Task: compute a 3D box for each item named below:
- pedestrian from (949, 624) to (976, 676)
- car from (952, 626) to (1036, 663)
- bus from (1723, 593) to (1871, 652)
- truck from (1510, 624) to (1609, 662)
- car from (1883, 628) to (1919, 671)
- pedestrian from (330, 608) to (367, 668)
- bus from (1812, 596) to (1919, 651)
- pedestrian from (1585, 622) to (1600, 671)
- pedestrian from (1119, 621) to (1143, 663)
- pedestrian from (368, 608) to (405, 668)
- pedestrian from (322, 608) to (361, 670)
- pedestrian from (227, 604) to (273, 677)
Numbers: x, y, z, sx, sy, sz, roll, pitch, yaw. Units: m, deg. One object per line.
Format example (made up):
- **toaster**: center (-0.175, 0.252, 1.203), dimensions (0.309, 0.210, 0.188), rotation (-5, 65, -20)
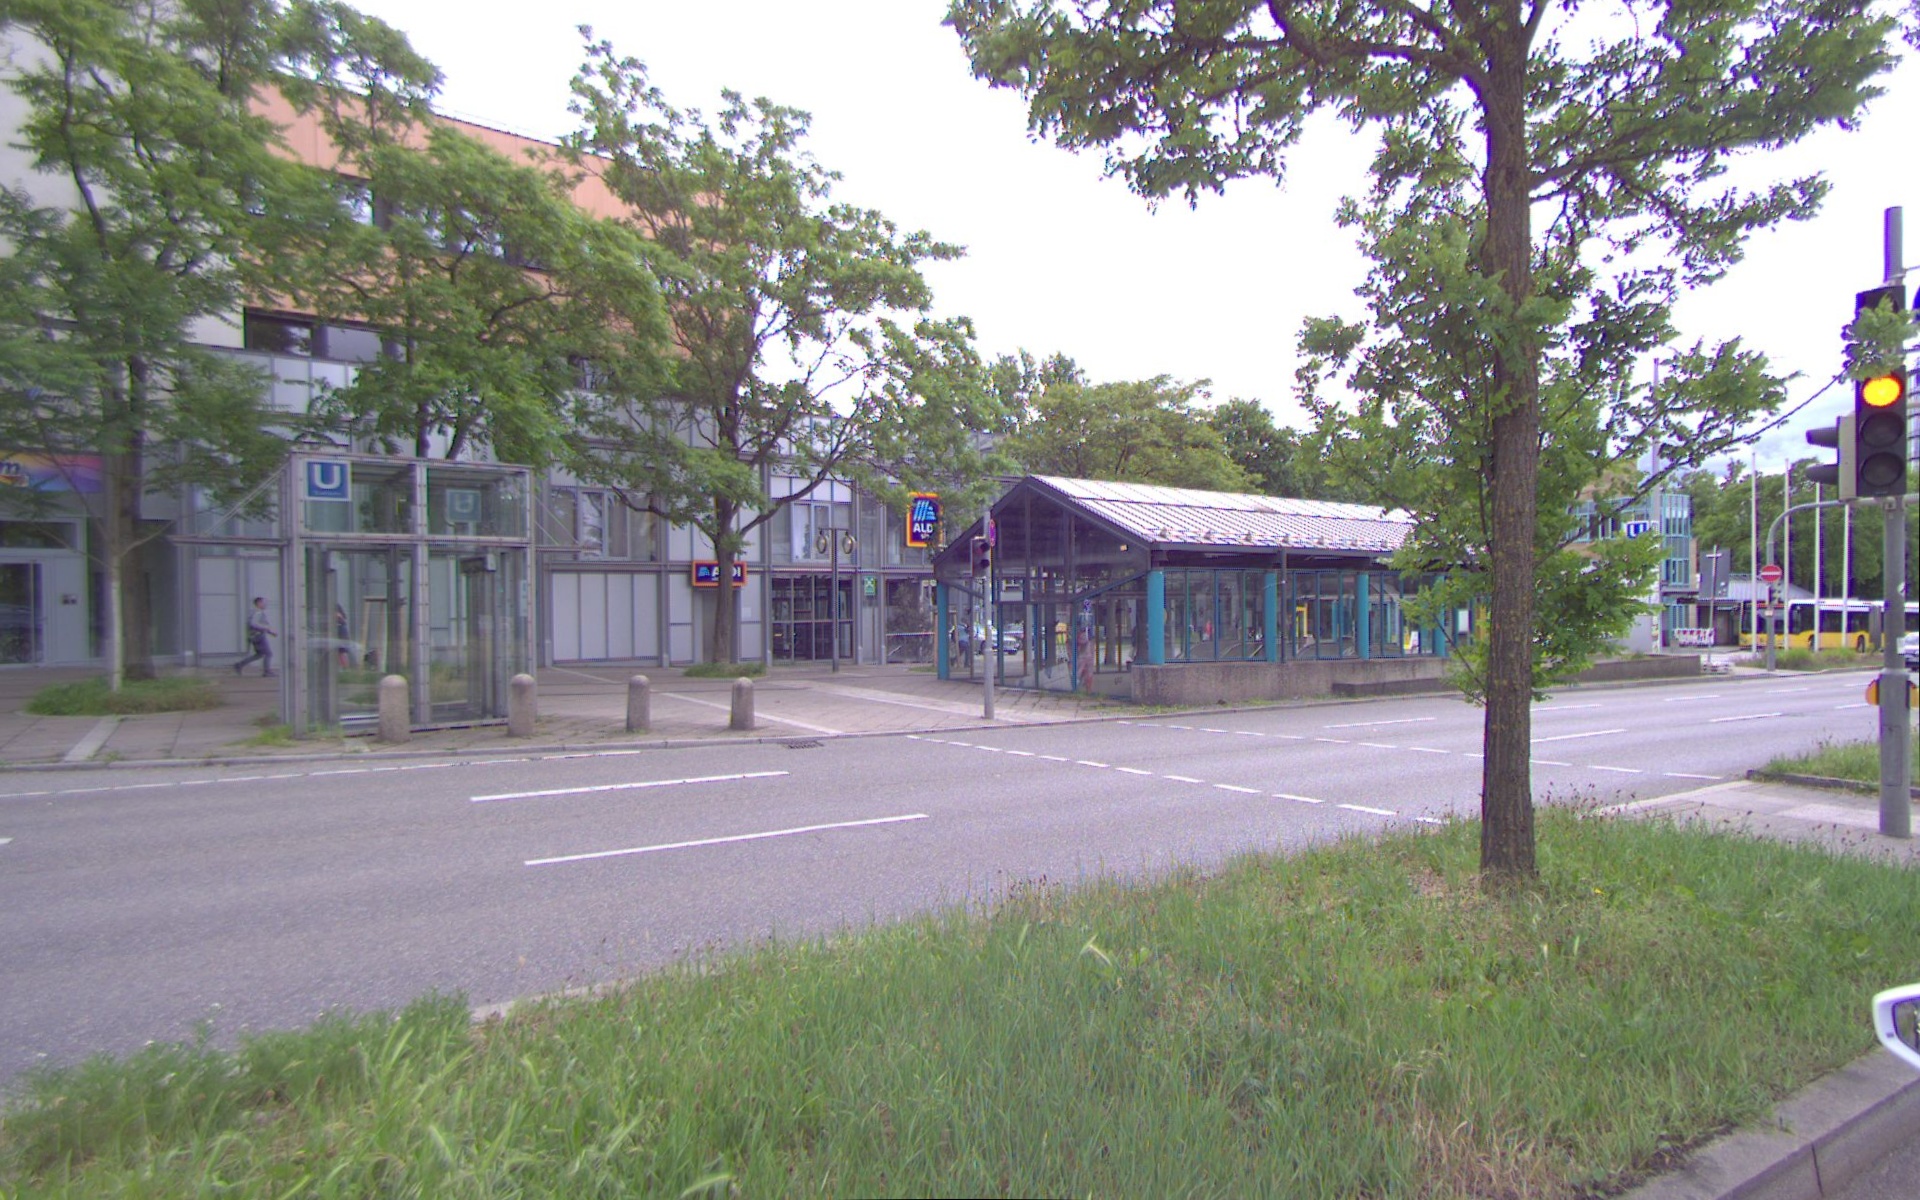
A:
- **pedestrian**: center (0.072, 1.612, 32.546), dimensions (0.703, 1.677, 0.517), rotation (1, -1, -37)
- **car**: center (1.657, 2.191, 50.383), dimensions (1.769, 1.710, 4.838), rotation (1, -1, -33)
- **bus**: center (49.930, 1.379, 59.829), dimensions (10.036, 3.293, 2.980), rotation (1, -1, -26)
- **truck**: center (25.182, 1.780, 42.180), dimensions (3.954, 1.537, 1.984), rotation (1, -1, -31)
- **car**: center (37.555, 1.912, 39.168), dimensions (3.316, 1.599, 1.673), rotation (1, -1, -36)
- **pedestrian**: center (-14.431, 0.885, 23.701), dimensions (0.689, 1.393, 0.578), rotation (1, -1, -37)
- **bus**: center (57.928, 1.540, 63.769), dimensions (7.771, 3.313, 2.980), rotation (1, -1, -26)
- **pedestrian**: center (21.075, 1.532, 33.496), dimensions (0.412, 1.612, 0.356), rotation (0, -1, 31)
- **pedestrian**: center (6.636, 1.621, 38.987), dimensions (0.654, 1.591, 0.631), rotation (2, 0, -30)
- **pedestrian**: center (-13.734, 0.908, 24.067), dimensions (0.689, 1.393, 0.578), rotation (1, -1, -37)
- **pedestrian**: center (-14.208, 0.888, 23.070), dimensions (0.689, 1.393, 0.578), rotation (1, -1, -37)
- **pedestrian**: center (-14.830, 0.833, 21.000), dimensions (0.748, 1.499, 0.525), rotation (1, -1, -36)
